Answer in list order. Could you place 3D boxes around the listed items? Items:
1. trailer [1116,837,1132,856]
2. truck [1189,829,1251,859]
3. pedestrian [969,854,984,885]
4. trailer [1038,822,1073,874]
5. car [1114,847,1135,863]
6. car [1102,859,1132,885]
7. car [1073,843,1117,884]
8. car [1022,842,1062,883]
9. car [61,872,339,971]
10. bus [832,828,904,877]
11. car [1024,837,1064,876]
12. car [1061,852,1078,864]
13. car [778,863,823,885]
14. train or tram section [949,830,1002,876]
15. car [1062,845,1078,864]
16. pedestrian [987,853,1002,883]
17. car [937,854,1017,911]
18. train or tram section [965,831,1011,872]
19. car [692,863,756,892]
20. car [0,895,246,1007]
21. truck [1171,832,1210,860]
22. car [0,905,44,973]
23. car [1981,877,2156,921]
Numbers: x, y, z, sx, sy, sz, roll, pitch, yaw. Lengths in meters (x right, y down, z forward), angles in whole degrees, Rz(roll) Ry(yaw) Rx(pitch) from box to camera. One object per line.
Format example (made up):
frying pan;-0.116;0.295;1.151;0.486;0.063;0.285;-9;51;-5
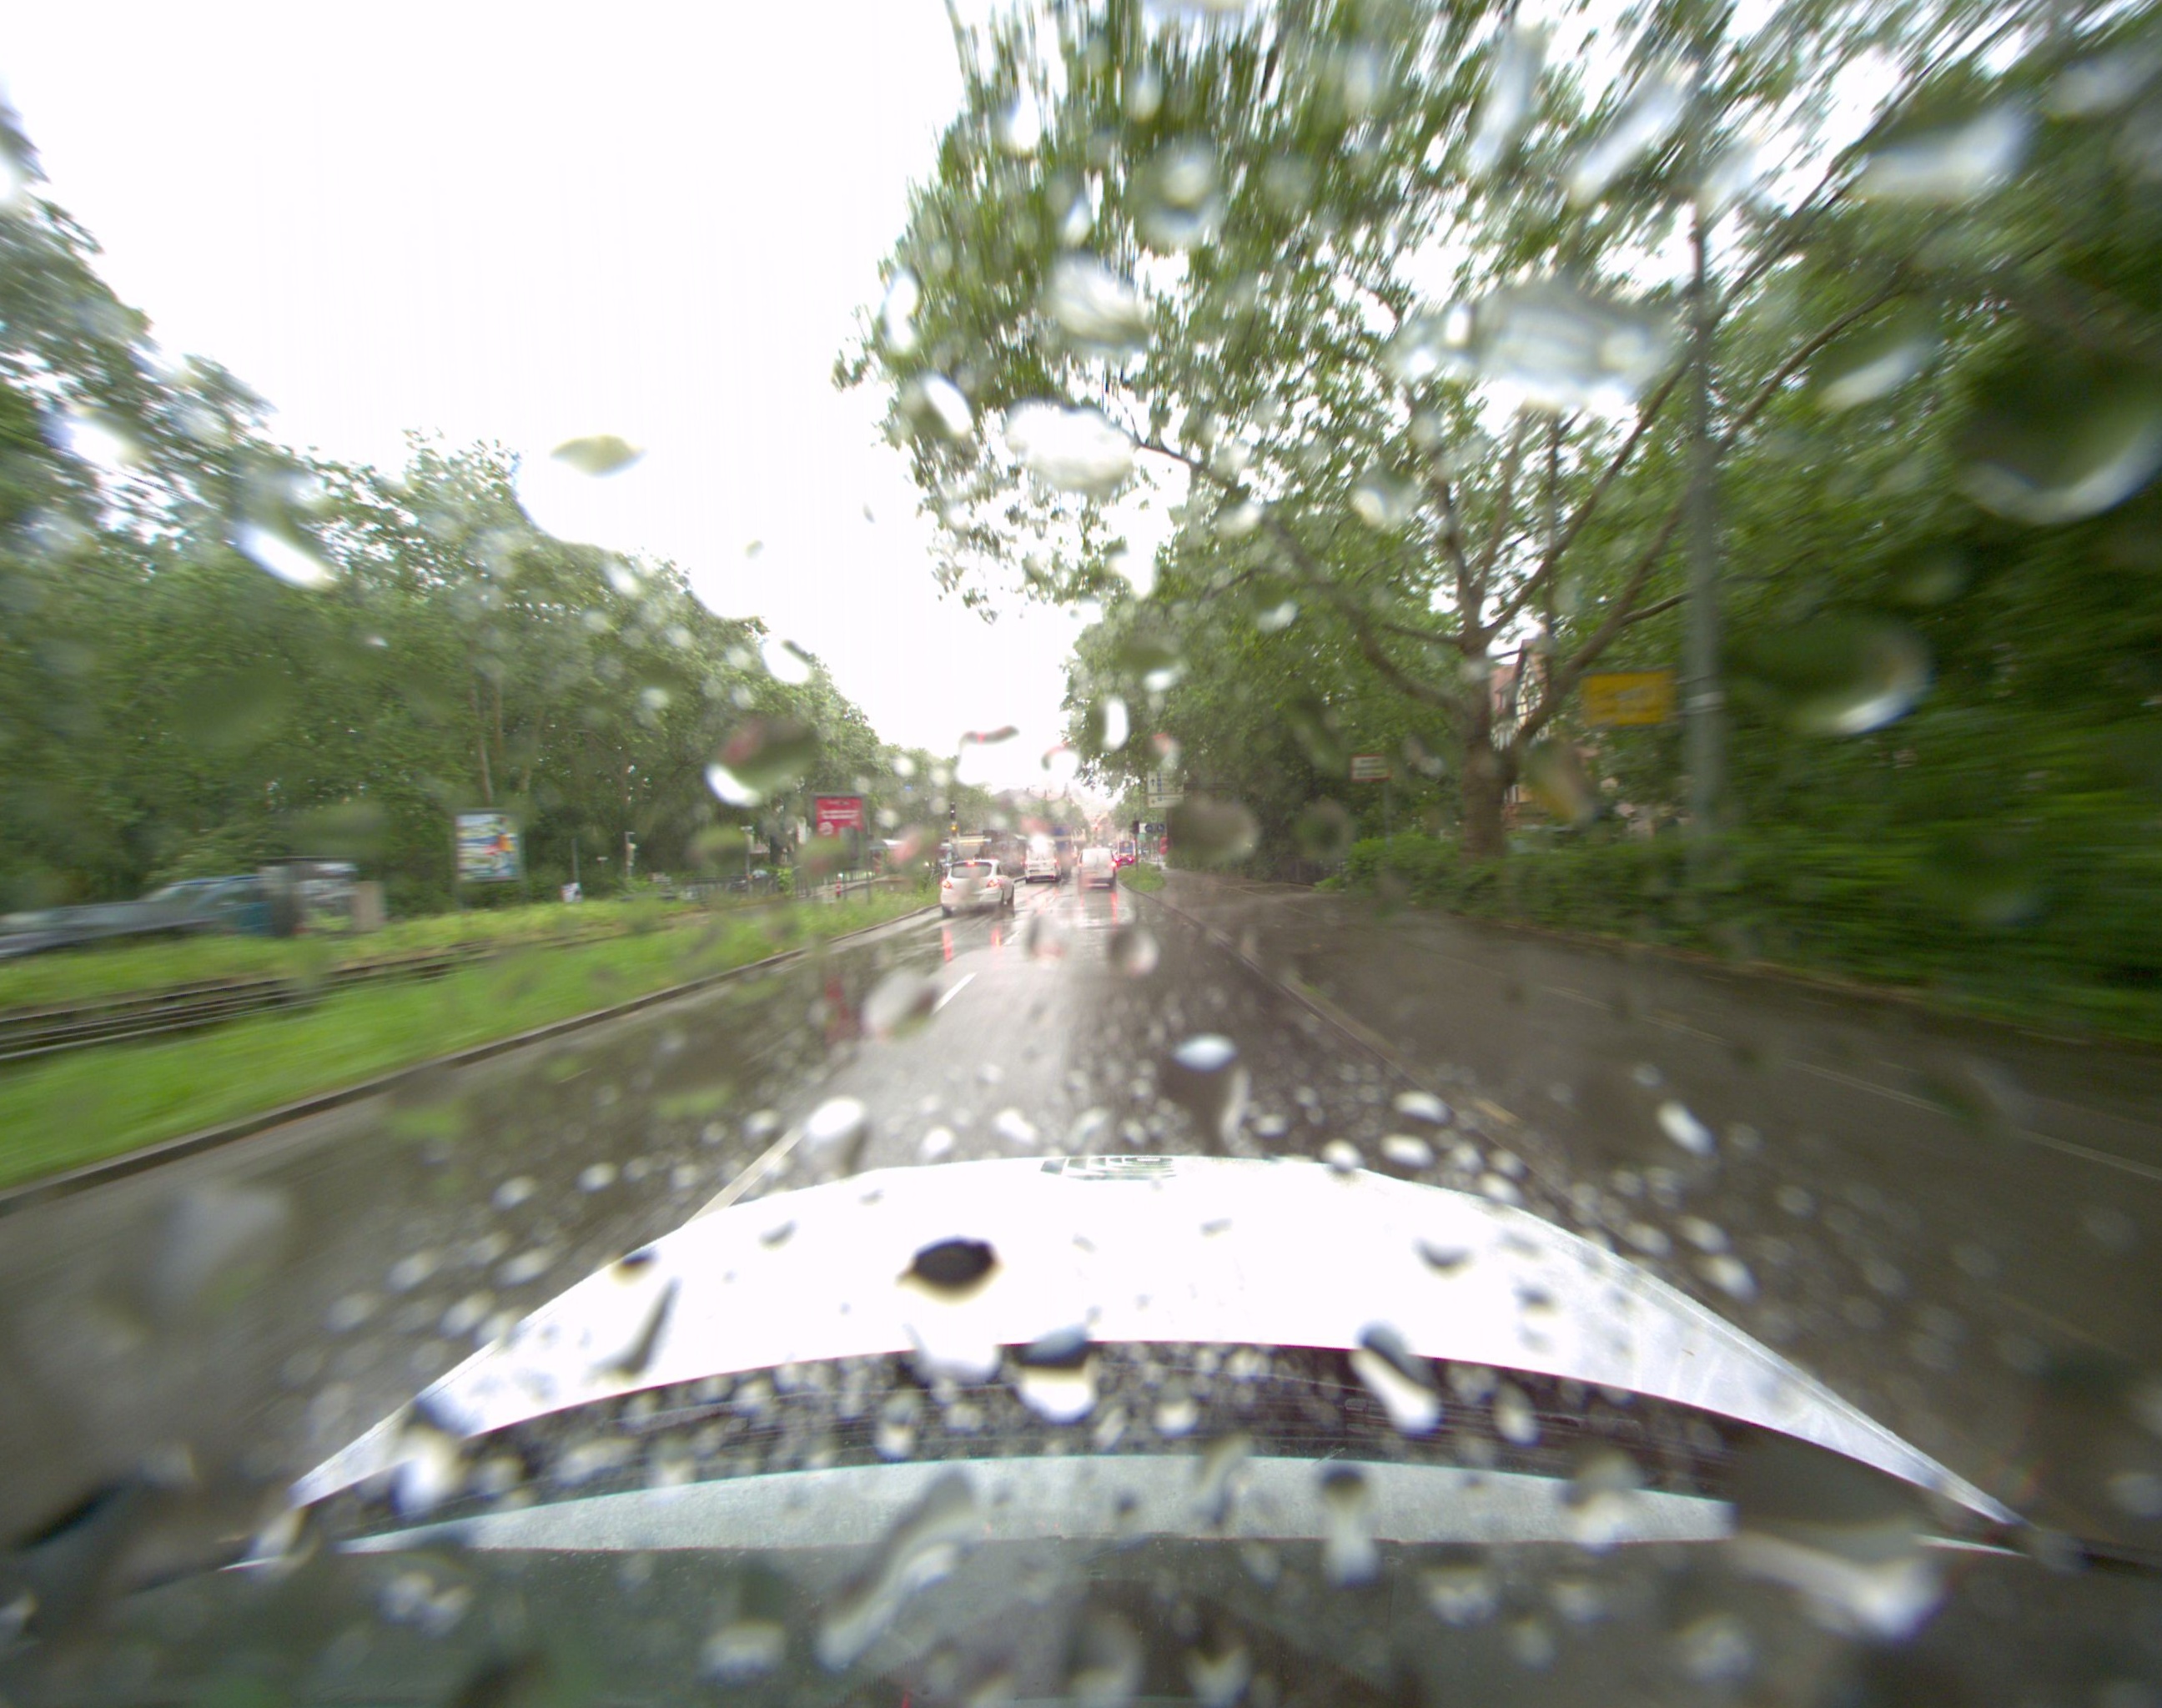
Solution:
trailer;5.677;-0.952;107.927;1.985;2.317;4.672;-1;-1;3
truck;26.623;-1.910;155.582;11.292;4.899;3.299;-3;1;10
pedestrian;-6.078;0.905;47.258;0.713;1.744;0.750;-2;-1;0
trailer;-1.980;-0.480;66.544;2.582;3.899;7.634;-1;0;0
car;4.503;0.108;84.305;1.984;1.542;4.006;-2;0;5
car;2.421;1.184;54.422;1.900;1.618;4.002;-1;-1;2
car;0.660;0.455;38.121;1.952;1.777;3.570;-1;-1;1
car;-2.252;0.508;48.905;1.986;2.262;5.289;-1;-1;1
car;-22.425;1.600;21.116;2.027;2.093;4.798;-3;0;-3
bus;-18.191;-0.101;70.615;3.020;3.838;12.243;-1;0;0
car;-2.548;0.191;57.382;2.321;2.557;6.115;-1;-1;1
car;-1.480;0.493;103.683;1.987;1.578;4.292;0;0;1
car;-21.542;1.490;62.807;1.927;1.517;4.001;-3;0;1
train or tram section;-8.336;-0.146;65.209;2.952;3.285;8.360;-3;1;0
car;-1.456;0.096;109.206;1.987;2.442;4.612;0;0;1
pedestrian;-5.038;0.808;47.713;0.788;1.714;0.770;0;-2;0
car;-2.905;0.782;23.512;1.719;1.479;3.805;-1;-1;1
train or tram section;-8.313;-0.268;73.611;2.969;3.285;8.430;-3;1;0
car;-21.734;1.389;49.714;1.986;1.517;4.001;-3;0;1
car;-18.702;1.734;15.083;2.026;1.657;4.273;-3;0;-2
truck;21.114;-1.618;156.570;7.112;4.899;3.299;-3;1;10
car;-22.484;1.761;14.986;1.732;1.317;3.982;-3;0;-3
car;36.867;1.664;30.512;3.875;1.470;1.930;-2;-1;7
